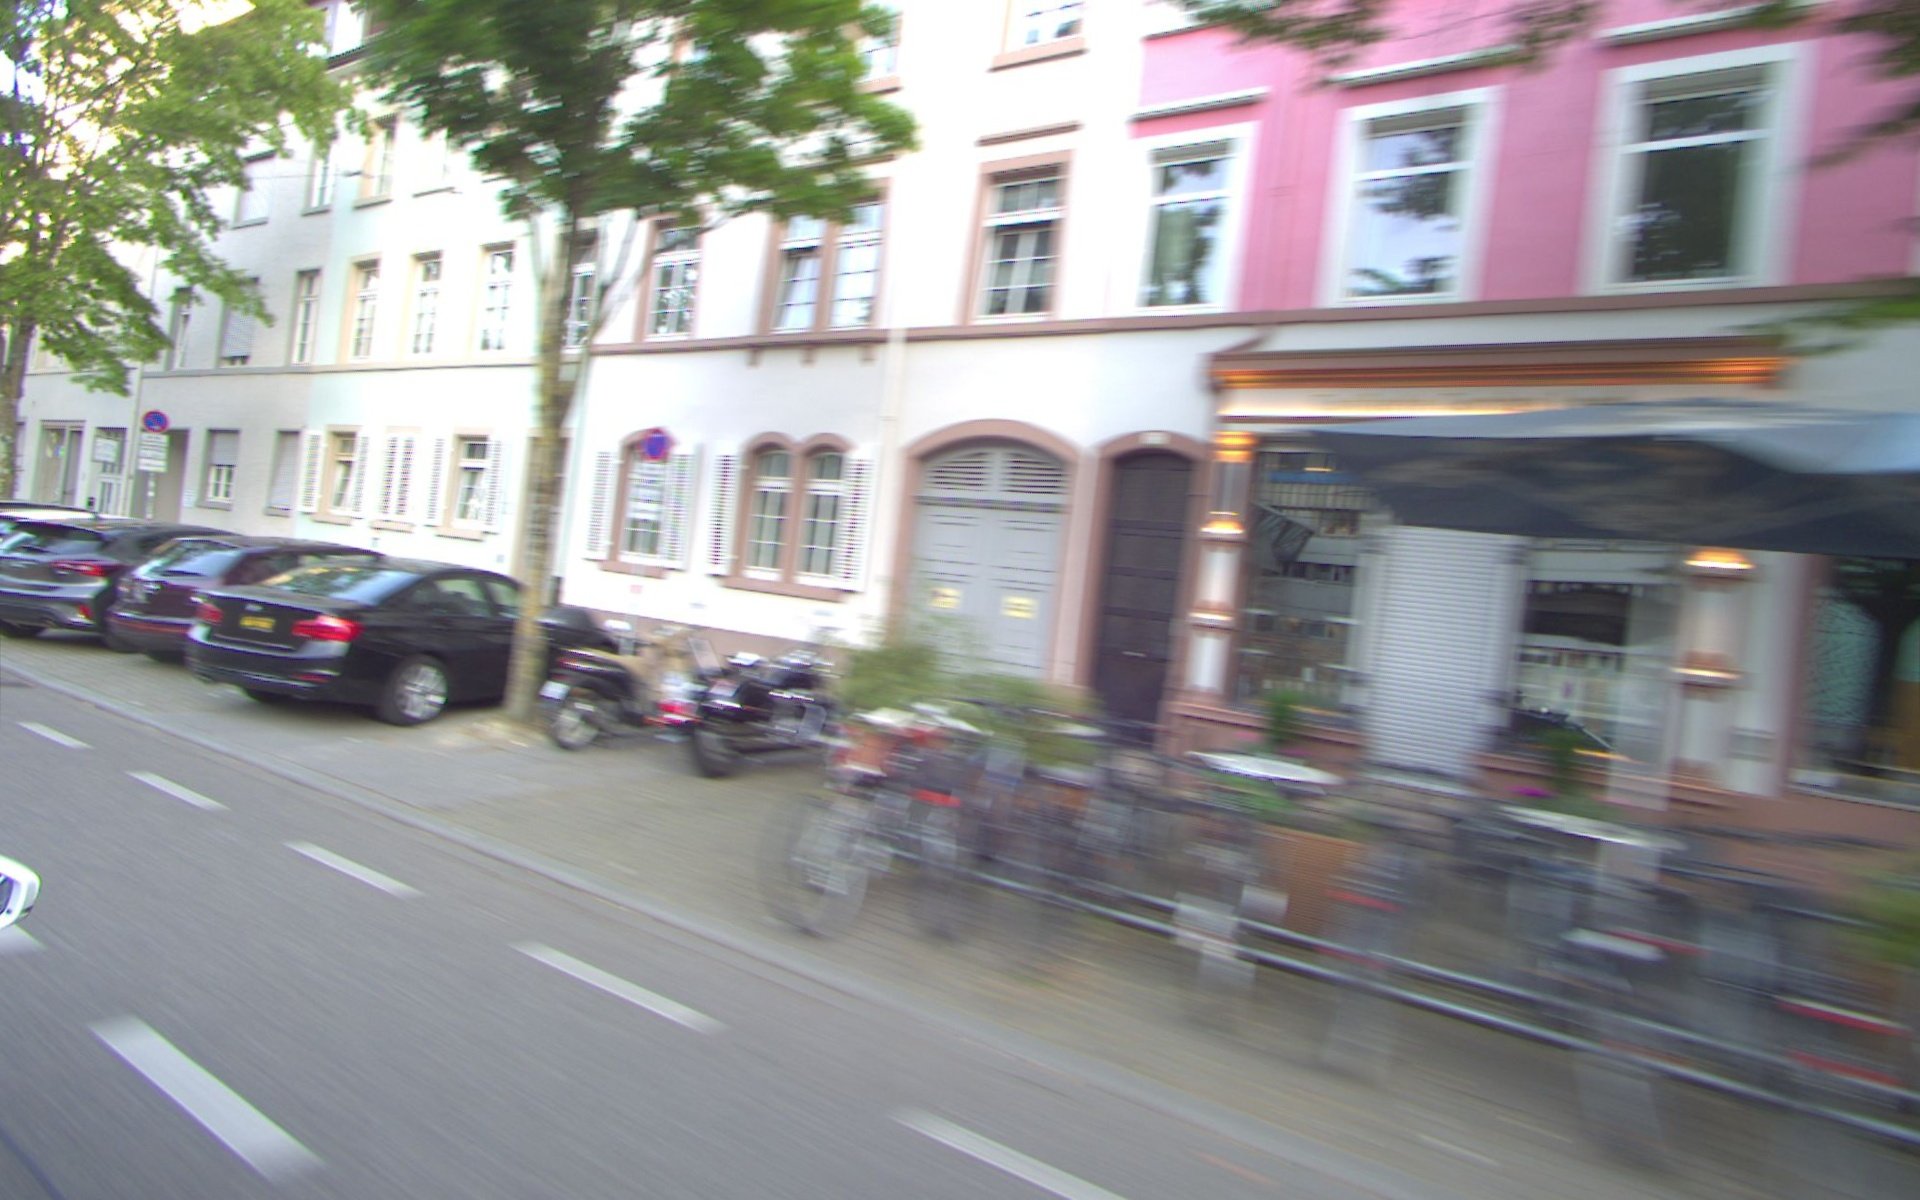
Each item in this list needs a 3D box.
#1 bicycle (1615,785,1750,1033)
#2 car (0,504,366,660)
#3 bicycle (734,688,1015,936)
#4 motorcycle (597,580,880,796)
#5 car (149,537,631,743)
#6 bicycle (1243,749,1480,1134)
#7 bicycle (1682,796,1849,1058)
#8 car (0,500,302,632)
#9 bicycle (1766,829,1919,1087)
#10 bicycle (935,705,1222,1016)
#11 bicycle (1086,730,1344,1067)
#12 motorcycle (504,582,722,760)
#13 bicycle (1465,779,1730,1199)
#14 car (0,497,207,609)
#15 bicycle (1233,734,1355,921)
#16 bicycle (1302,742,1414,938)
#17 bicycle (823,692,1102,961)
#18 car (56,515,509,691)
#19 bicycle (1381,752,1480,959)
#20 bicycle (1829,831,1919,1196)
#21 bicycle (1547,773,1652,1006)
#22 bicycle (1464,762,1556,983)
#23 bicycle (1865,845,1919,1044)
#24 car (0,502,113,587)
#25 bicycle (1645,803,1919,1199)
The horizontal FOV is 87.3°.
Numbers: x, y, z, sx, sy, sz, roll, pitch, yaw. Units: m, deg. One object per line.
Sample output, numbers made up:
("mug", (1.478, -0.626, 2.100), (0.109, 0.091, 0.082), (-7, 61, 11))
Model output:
("bicycle", (3.923, 1.599, 5.544), (0.320, 0.884, 1.817), (7, 2, 30))
("car", (-9.750, -0.231, 12.528), (1.789, 1.489, 4.128), (7, 1, 8))
("bicycle", (-0.394, 1.092, 5.736), (0.524, 1.045, 1.905), (7, 2, 30))
("motorcycle", (-1.759, 0.691, 8.441), (0.951, 1.480, 2.225), (7, 1, 30))
("car", (-5.306, 0.319, 10.128), (1.788, 1.445, 4.174), (7, 1, 13))
("bicycle", (1.825, 1.306, 4.379), (0.598, 1.045, 1.888), (7, 2, 30))
("bicycle", (4.223, 1.633, 5.364), (0.320, 0.884, 1.817), (7, 2, 30))
("car", (-11.824, -0.480, 14.185), (1.949, 1.489, 4.128), (7, 1, 7))
("bicycle", (4.573, 1.741, 5.160), (0.320, 0.882, 1.820), (6, -2, 30))
("bicycle", (0.689, 1.170, 5.096), (0.663, 1.081, 1.888), (7, 2, 30))
("bicycle", (1.289, 1.256, 4.764), (0.598, 1.045, 1.888), (7, 2, 30))
("motorcycle", (-2.969, 0.607, 8.808), (0.524, 1.361, 1.788), (7, 1, 30))
("bicycle", (2.458, 1.395, 3.999), (0.598, 1.045, 1.888), (7, 2, 30))
("car", (-14.046, -0.735, 15.114), (1.977, 1.489, 4.128), (7, 1, 7))
("bicycle", (2.236, 1.414, 6.601), (0.320, 0.884, 1.817), (7, 2, 30))
("bicycle", (2.574, 1.448, 6.415), (0.320, 0.884, 1.817), (7, 2, 30))
("bicycle", (0.105, 1.095, 5.422), (0.581, 1.045, 1.865), (7, 2, 29))
("car", (-7.489, 0.030, 11.664), (1.963, 1.489, 3.960), (7, 1, 15))
("bicycle", (2.929, 1.485, 6.190), (0.320, 0.884, 1.817), (7, 2, 30))
("bicycle", (3.638, 1.512, 3.401), (0.598, 1.045, 1.888), (7, 2, 30))
("bicycle", (3.608, 1.556, 5.747), (0.320, 0.884, 1.817), (7, 2, 30))
("bicycle", (3.270, 1.521, 5.958), (0.320, 0.884, 1.817), (7, 2, 30))
("bicycle", (4.960, 1.781, 4.933), (0.320, 0.882, 1.820), (6, -2, 30))
("car", (-17.815, -1.121, 17.604), (1.977, 1.409, 4.266), (7, 0, 8))
("bicycle", (3.038, 1.453, 3.698), (0.598, 1.045, 1.888), (7, 2, 30))
